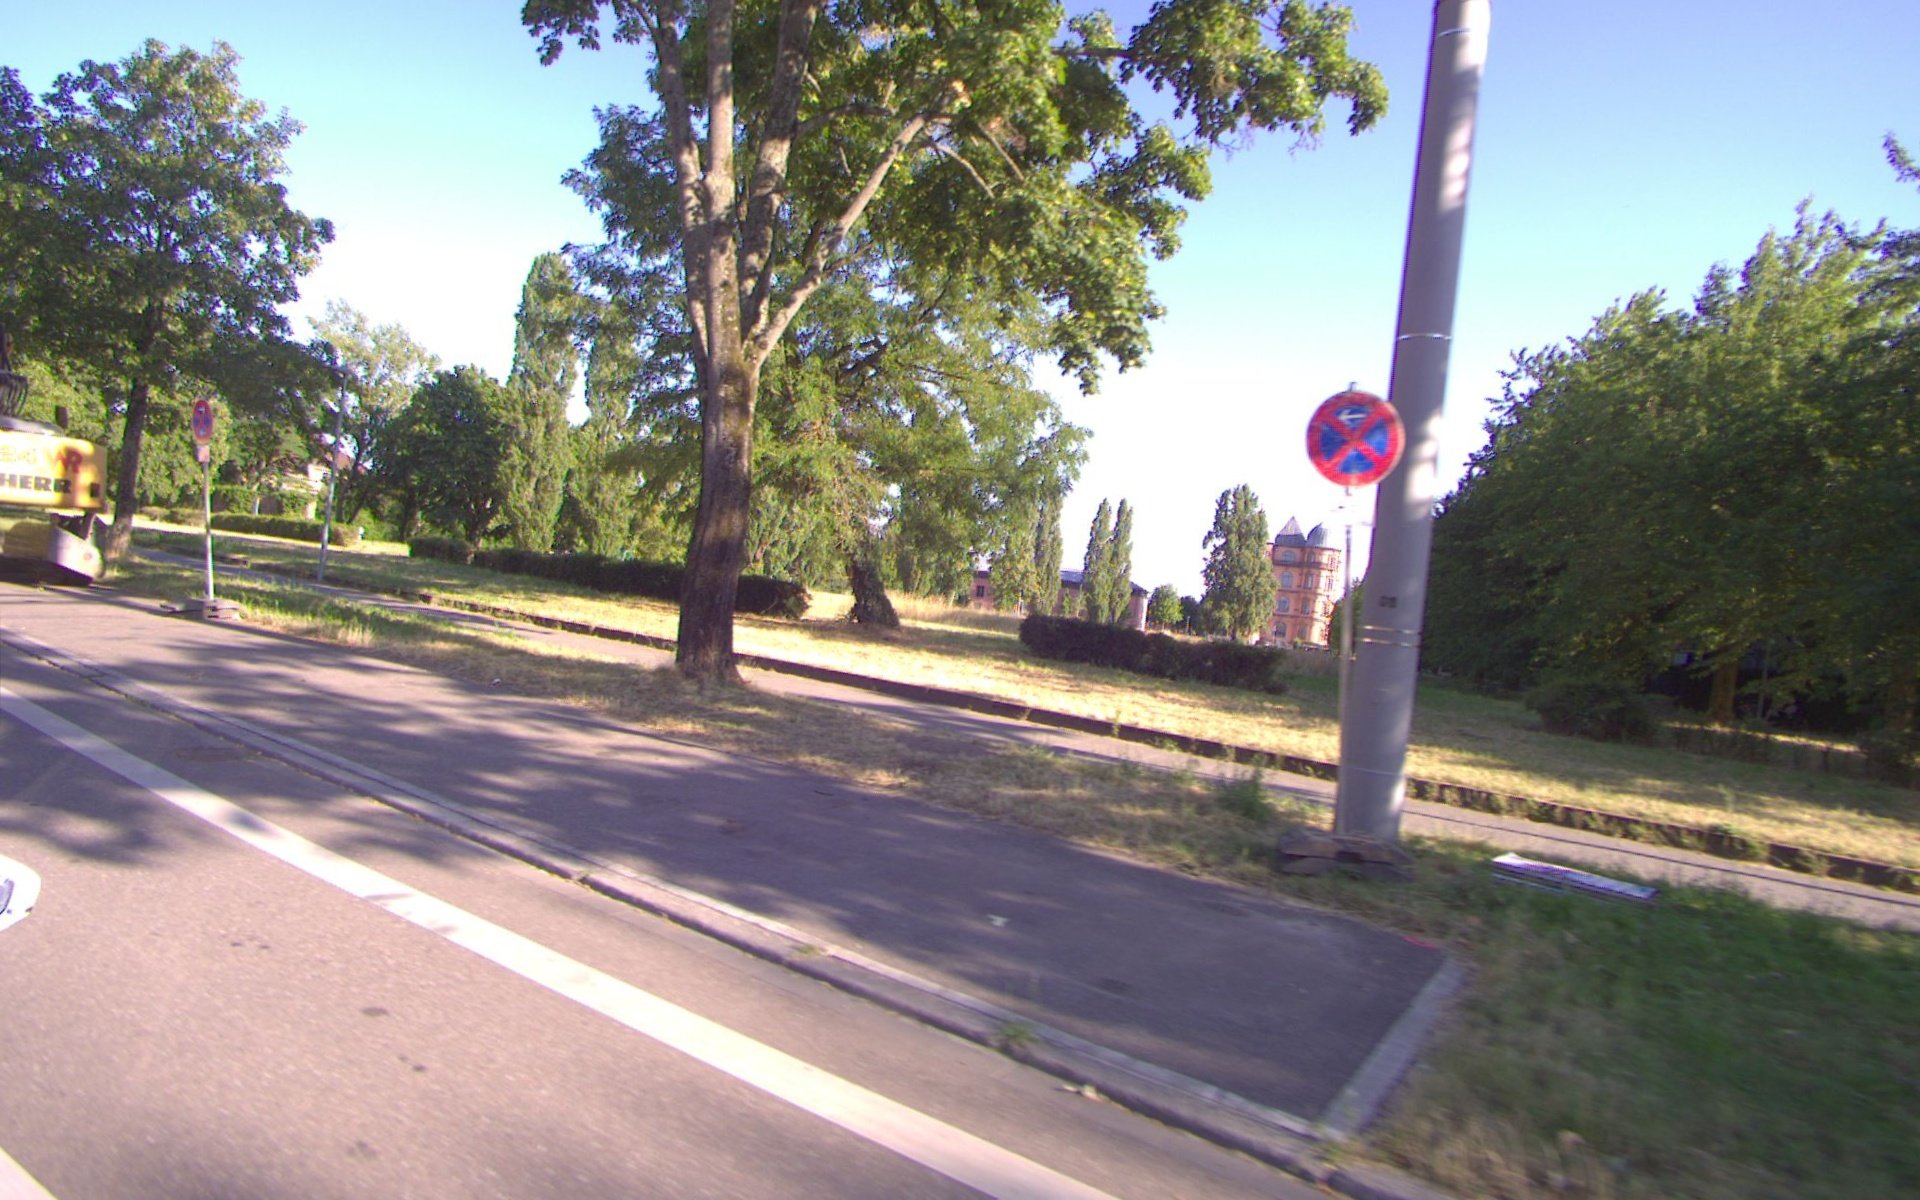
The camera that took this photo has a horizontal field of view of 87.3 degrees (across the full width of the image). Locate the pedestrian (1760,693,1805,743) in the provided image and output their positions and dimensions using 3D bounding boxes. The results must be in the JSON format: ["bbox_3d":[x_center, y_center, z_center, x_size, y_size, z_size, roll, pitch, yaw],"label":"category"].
[{"bbox_3d":[31.663,4.523,38.727,1.009,1.776,0.827,6,-2,24],"label":"pedestrian"}]

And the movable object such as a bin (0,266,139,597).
[{"bbox_3d":[-16.871,-2.768,16.520,7.473,4.673,2.913,7,3,32],"label":"movable object such as a bin"}]
